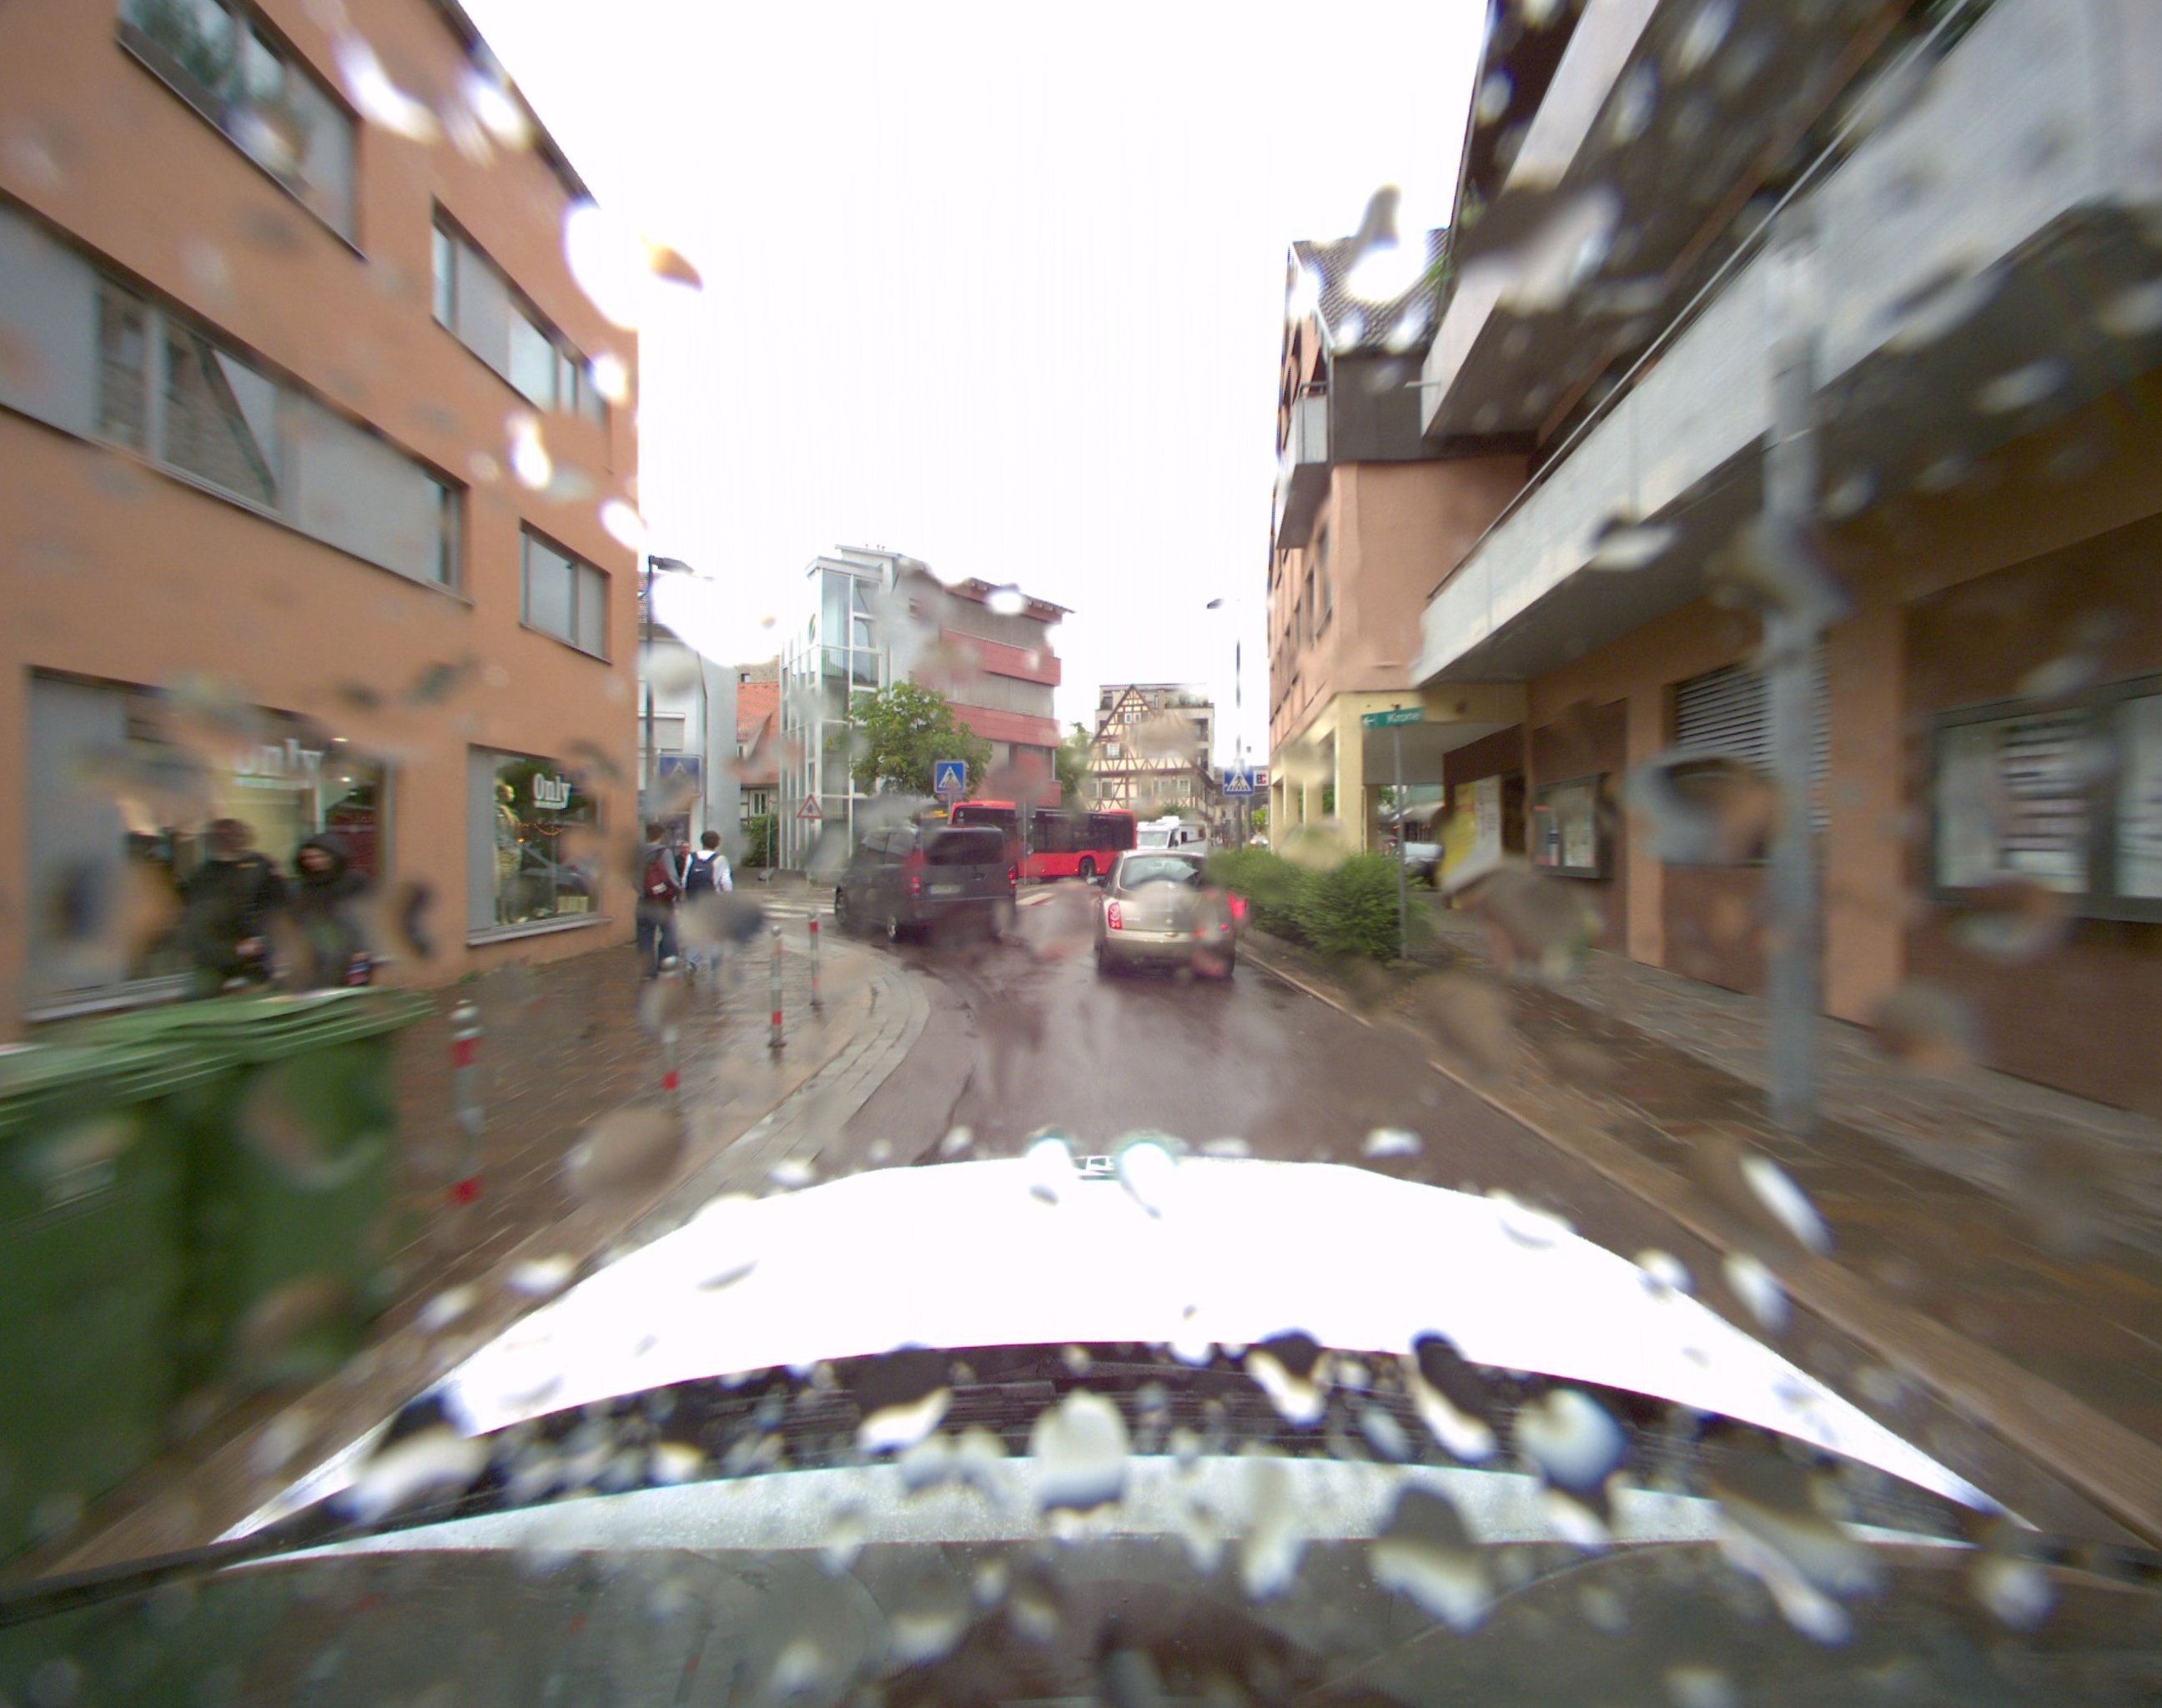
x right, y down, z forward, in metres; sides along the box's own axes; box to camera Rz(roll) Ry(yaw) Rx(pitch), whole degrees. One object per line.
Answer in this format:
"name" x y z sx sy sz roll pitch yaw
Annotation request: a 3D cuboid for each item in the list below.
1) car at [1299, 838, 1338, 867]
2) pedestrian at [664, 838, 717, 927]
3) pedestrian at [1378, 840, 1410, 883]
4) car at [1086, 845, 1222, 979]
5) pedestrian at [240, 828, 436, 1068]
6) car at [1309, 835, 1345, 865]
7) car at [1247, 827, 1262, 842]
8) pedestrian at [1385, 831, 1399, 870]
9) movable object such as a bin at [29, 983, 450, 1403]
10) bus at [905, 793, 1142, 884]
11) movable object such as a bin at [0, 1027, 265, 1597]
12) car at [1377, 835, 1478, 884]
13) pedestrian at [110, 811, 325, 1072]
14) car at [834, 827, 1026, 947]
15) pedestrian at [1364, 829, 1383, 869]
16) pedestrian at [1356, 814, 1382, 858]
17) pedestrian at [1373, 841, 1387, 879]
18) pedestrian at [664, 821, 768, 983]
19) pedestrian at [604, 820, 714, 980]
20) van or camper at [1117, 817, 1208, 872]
"car" 11.589 -0.093 39.596 1.523 1.362 3.391 0 1 21
"pedestrian" -7.231 0.510 15.096 0.658 1.610 0.683 0 0 -4
"pedestrian" 11.935 0.281 31.056 0.955 1.639 0.739 0 0 40
"car" 0.885 0.638 10.849 1.516 1.470 3.343 -1 1 2
"pedestrian" -5.397 0.645 5.967 0.713 1.639 0.745 1 0 -1
"car" 13.410 -0.227 44.498 1.612 1.500 4.016 -3 0 14
"car" 20.413 -2.324 95.996 1.575 1.712 3.334 0 1 15
"pedestrian" 13.486 -0.154 35.310 0.536 1.663 0.523 -1 0 17
"movable object such as a bin" -2.560 0.984 2.560 0.655 1.036 0.609 -1 0 -3
"bus" -1.848 -0.632 32.602 2.786 3.088 10.674 1 1 41
"movable object such as a bin" -2.539 0.994 1.893 0.655 1.036 0.609 -1 0 -3
"car" 10.077 0.135 24.043 1.752 1.276 4.484 -1 0 10
"pedestrian" -6.071 0.575 5.780 0.620 1.712 0.809 1 0 -1
"car" -2.891 0.447 14.624 1.959 1.780 4.682 0 1 -30
"pedestrian" 12.848 -0.220 35.780 0.728 1.748 0.896 -1 0 16
"pedestrian" 10.974 -0.679 31.002 0.689 1.661 0.826 -1 0 39
"pedestrian" 12.164 0.238 33.091 0.492 1.509 0.493 -1 0 16
"pedestrian" -4.287 0.534 9.629 0.660 1.806 1.062 -1 0 5
"pedestrian" -4.978 0.514 9.673 0.689 1.800 1.059 -1 0 4
"van or camper" 4.347 -0.497 41.806 2.415 2.585 6.791 0 1 26
